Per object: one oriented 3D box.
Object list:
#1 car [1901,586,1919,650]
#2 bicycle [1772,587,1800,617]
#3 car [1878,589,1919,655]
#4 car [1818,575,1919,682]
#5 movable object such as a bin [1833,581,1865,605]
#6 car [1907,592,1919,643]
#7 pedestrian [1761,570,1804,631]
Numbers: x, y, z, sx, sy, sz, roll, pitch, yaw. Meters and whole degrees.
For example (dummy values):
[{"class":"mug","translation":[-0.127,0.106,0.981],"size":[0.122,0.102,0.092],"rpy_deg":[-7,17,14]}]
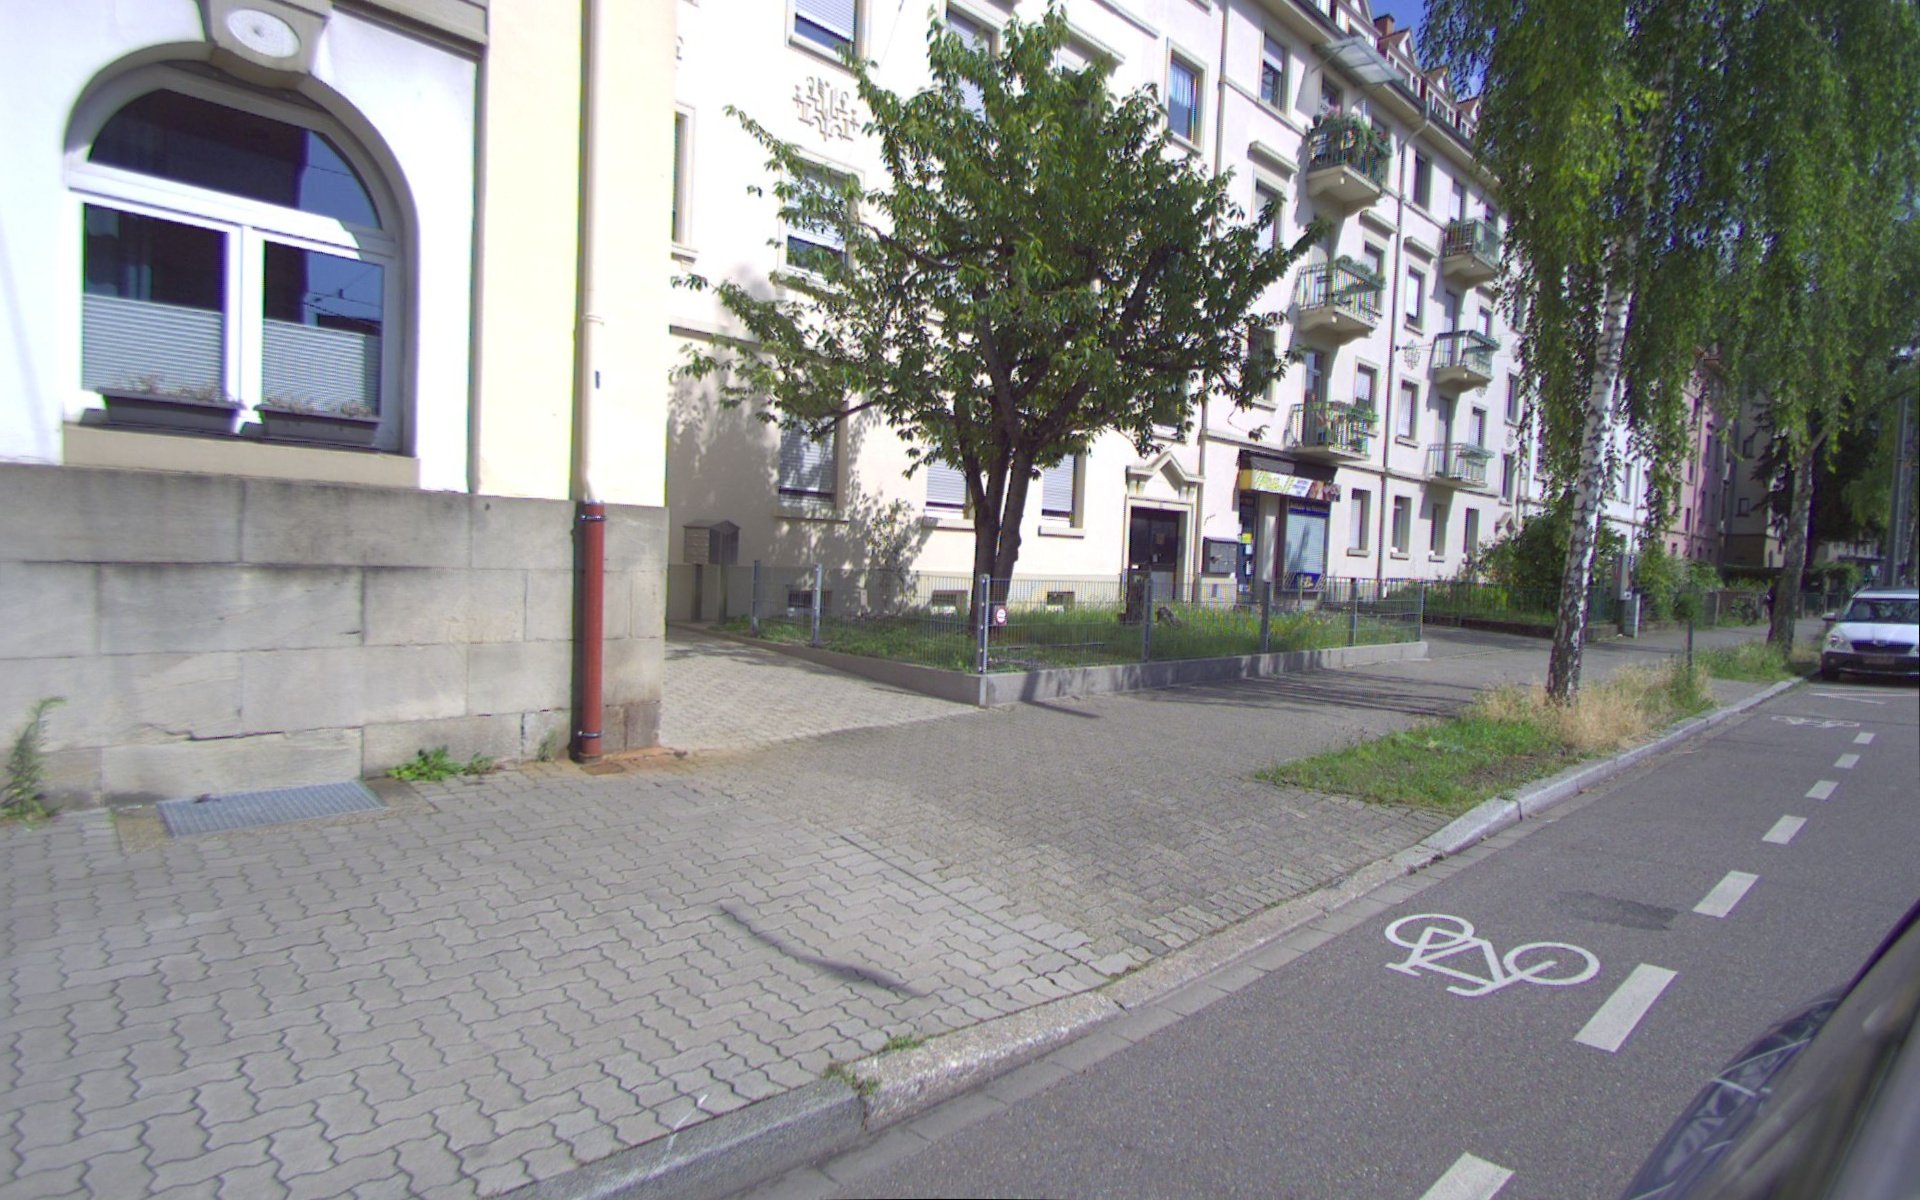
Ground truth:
[{"class":"car","translation":[25.706,0.458,26.445],"size":[1.494,1.599,3.698],"rpy_deg":[2,1,45]},{"class":"bicycle","translation":[31.683,0.066,38.802],"size":[2.145,1.090,0.472],"rpy_deg":[0,4,-42]},{"class":"car","translation":[22.529,0.473,23.422],"size":[3.733,1.434,1.674],"rpy_deg":[0,1,-44]},{"class":"car","translation":[16.168,0.428,17.273],"size":[3.930,1.650,1.724],"rpy_deg":[0,1,-41]},{"class":"movable object such as a bin","translation":[58.343,-0.449,66.400],"size":[1.966,1.510,1.304],"rpy_deg":[0,4,-43]},{"class":"car","translation":[29.097,0.492,29.788],"size":[3.780,1.471,1.590],"rpy_deg":[0,0,-44]},{"class":"pedestrian","translation":[23.995,0.013,29.528],"size":[0.678,1.703,0.732],"rpy_deg":[1,5,-40]}]
